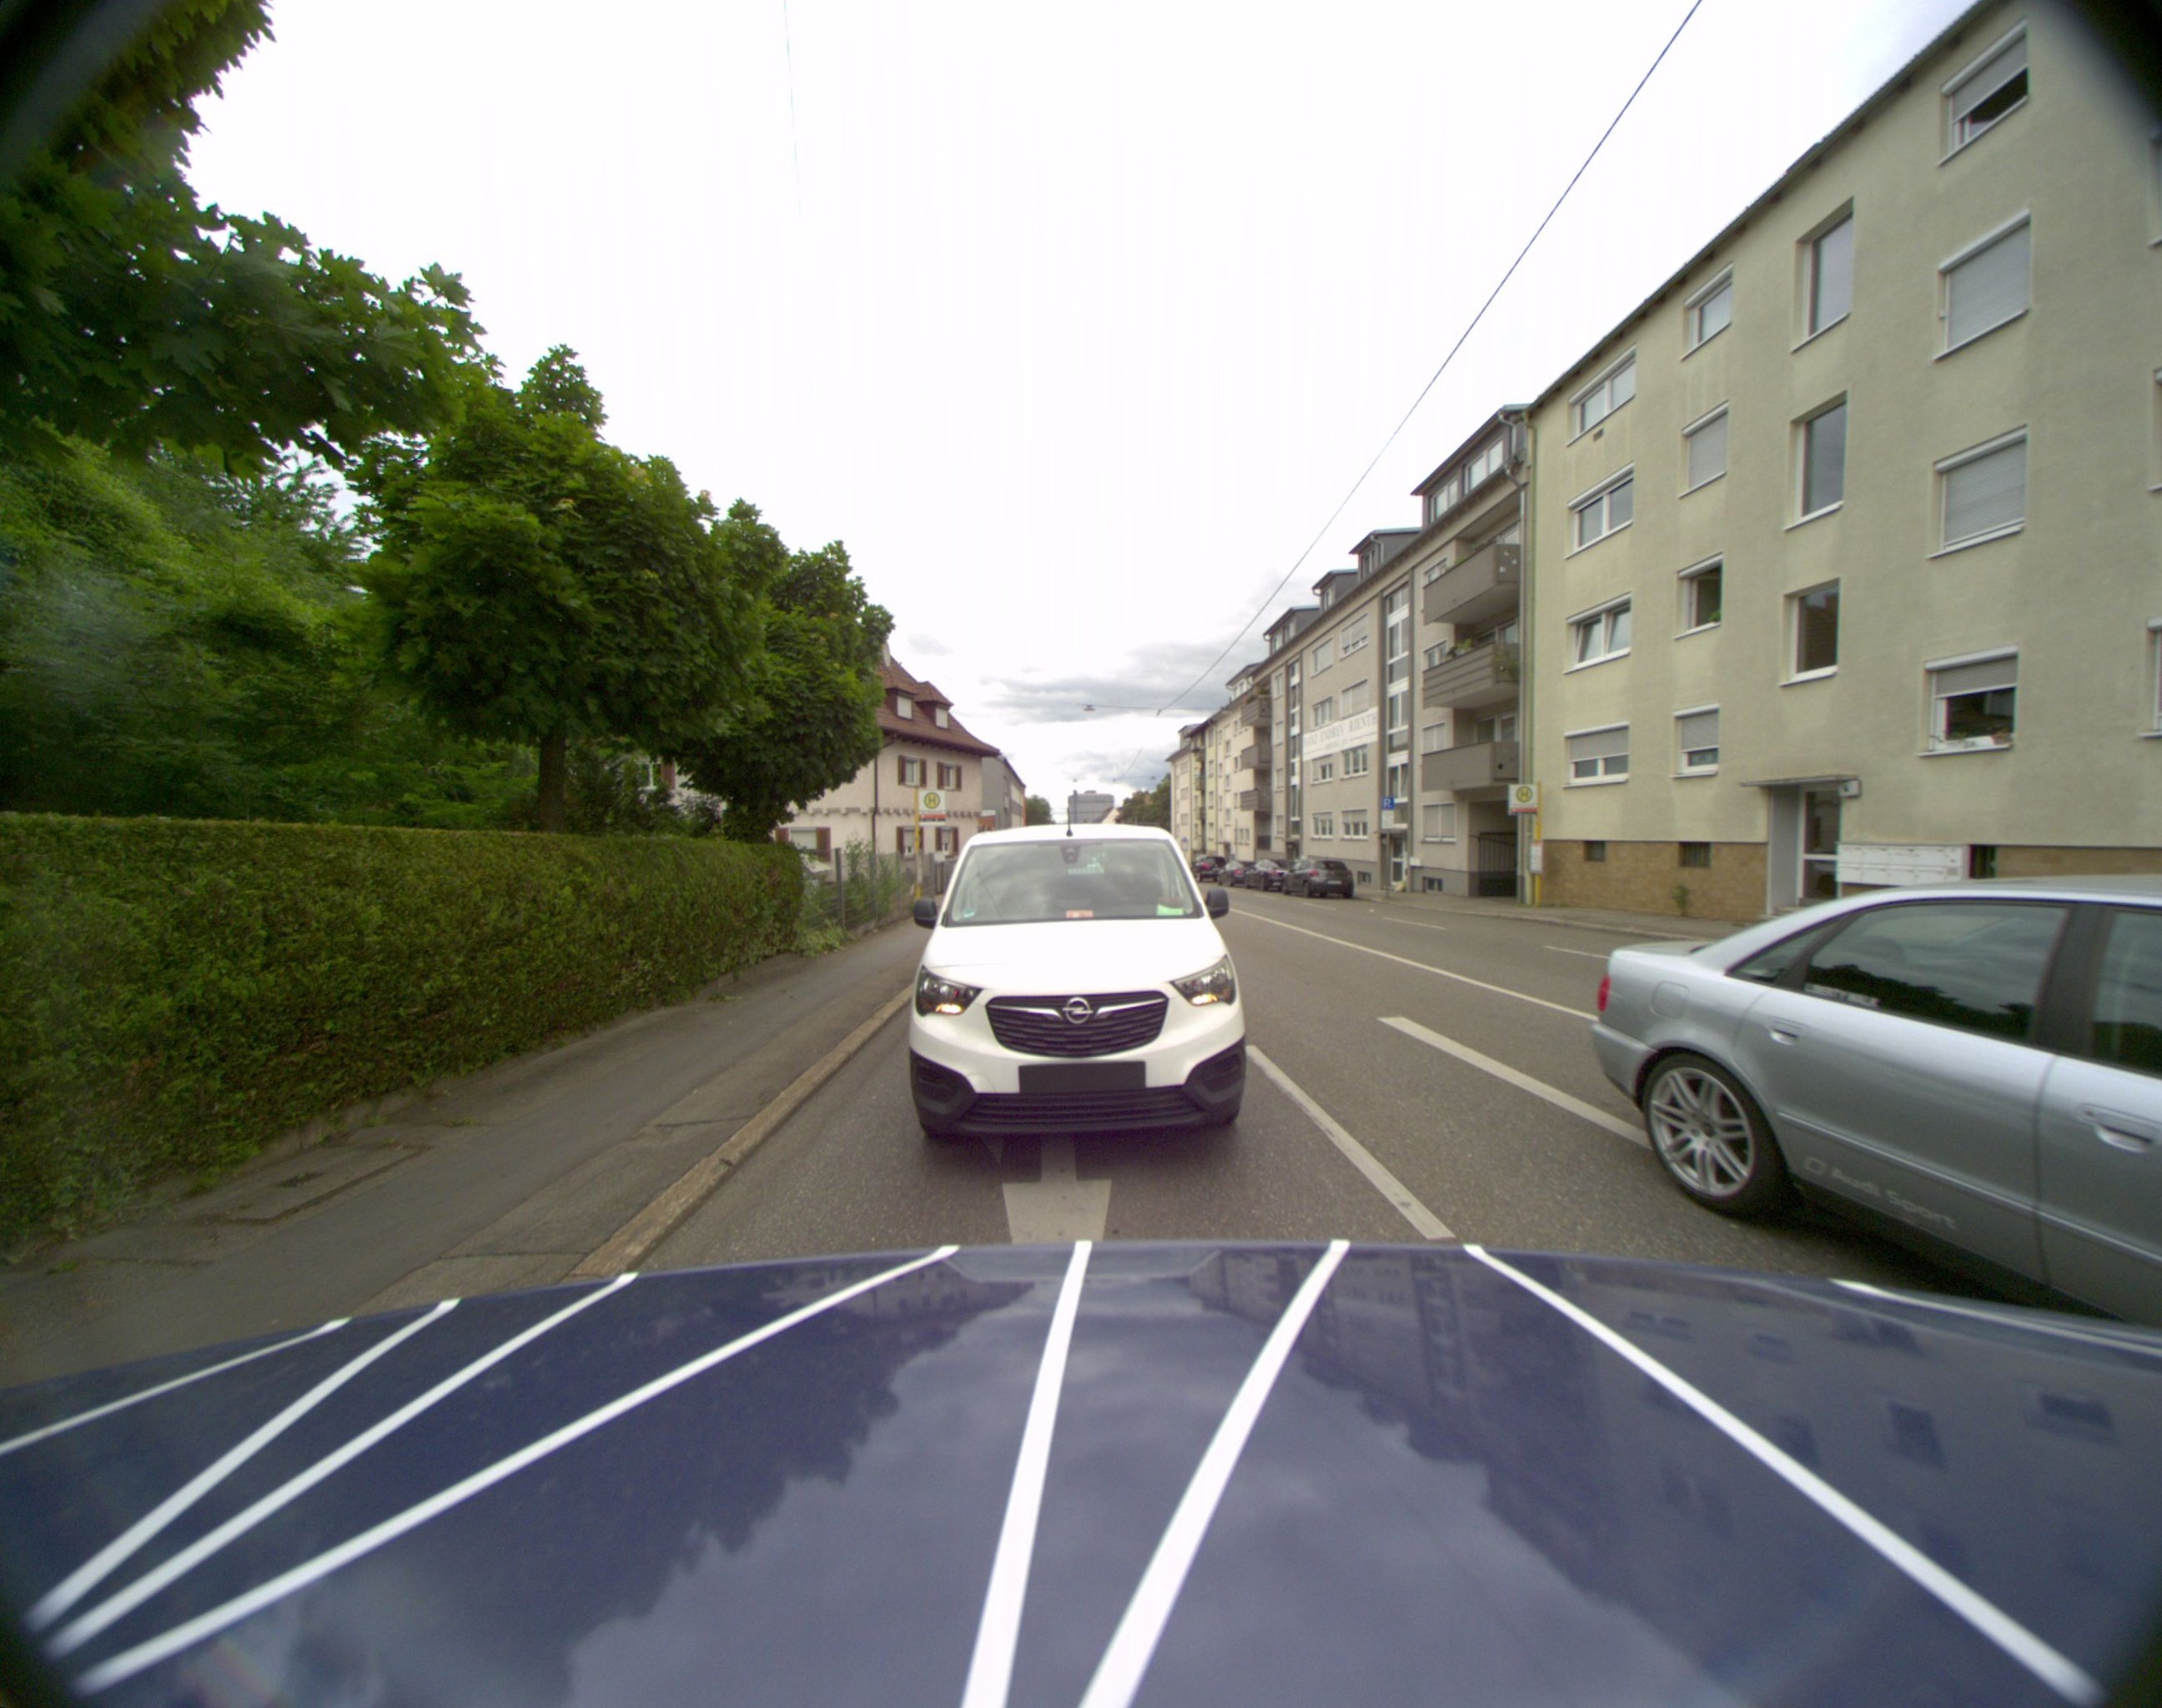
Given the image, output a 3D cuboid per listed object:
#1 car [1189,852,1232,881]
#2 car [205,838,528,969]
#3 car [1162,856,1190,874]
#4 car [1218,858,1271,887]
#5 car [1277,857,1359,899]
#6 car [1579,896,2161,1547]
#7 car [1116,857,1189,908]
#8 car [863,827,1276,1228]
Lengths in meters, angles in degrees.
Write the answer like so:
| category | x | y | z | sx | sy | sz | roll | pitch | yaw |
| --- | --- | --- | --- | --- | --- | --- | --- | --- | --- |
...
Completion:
| category | x | y | z | sx | sy | sz | roll | pitch | yaw |
| --- | --- | --- | --- | --- | --- | --- | --- | --- | --- |
| car | 8.335 | 0.762 | 49.174 | 1.875 | 1.743 | 4.306 | 2 | 1 | -2 |
| car | -12.750 | 0.747 | 13.769 | 1.994 | 2.002 | 4.008 | -1 | 0 | 40 |
| car | 8.203 | 0.933 | 65.988 | 1.875 | 1.372 | 4.307 | 2 | 0 | 0 |
| car | 8.497 | 0.927 | 39.866 | 1.772 | 1.397 | 4.307 | 0 | 0 | -1 |
| car | 8.898 | 0.857 | 28.861 | 1.773 | 1.428 | 3.800 | 2 | 0 | -2 |
| car | 3.327 | 0.891 | 1.606 | 1.701 | 1.365 | 4.177 | -2 | 0 | -2 |
| car | 2.285 | 0.880 | 25.490 | 1.752 | 1.446 | 4.444 | -2 | 1 | -3 |
| car | -0.106 | 0.768 | 5.454 | 1.803 | 1.736 | 3.999 | -3 | 1 | -2 |
